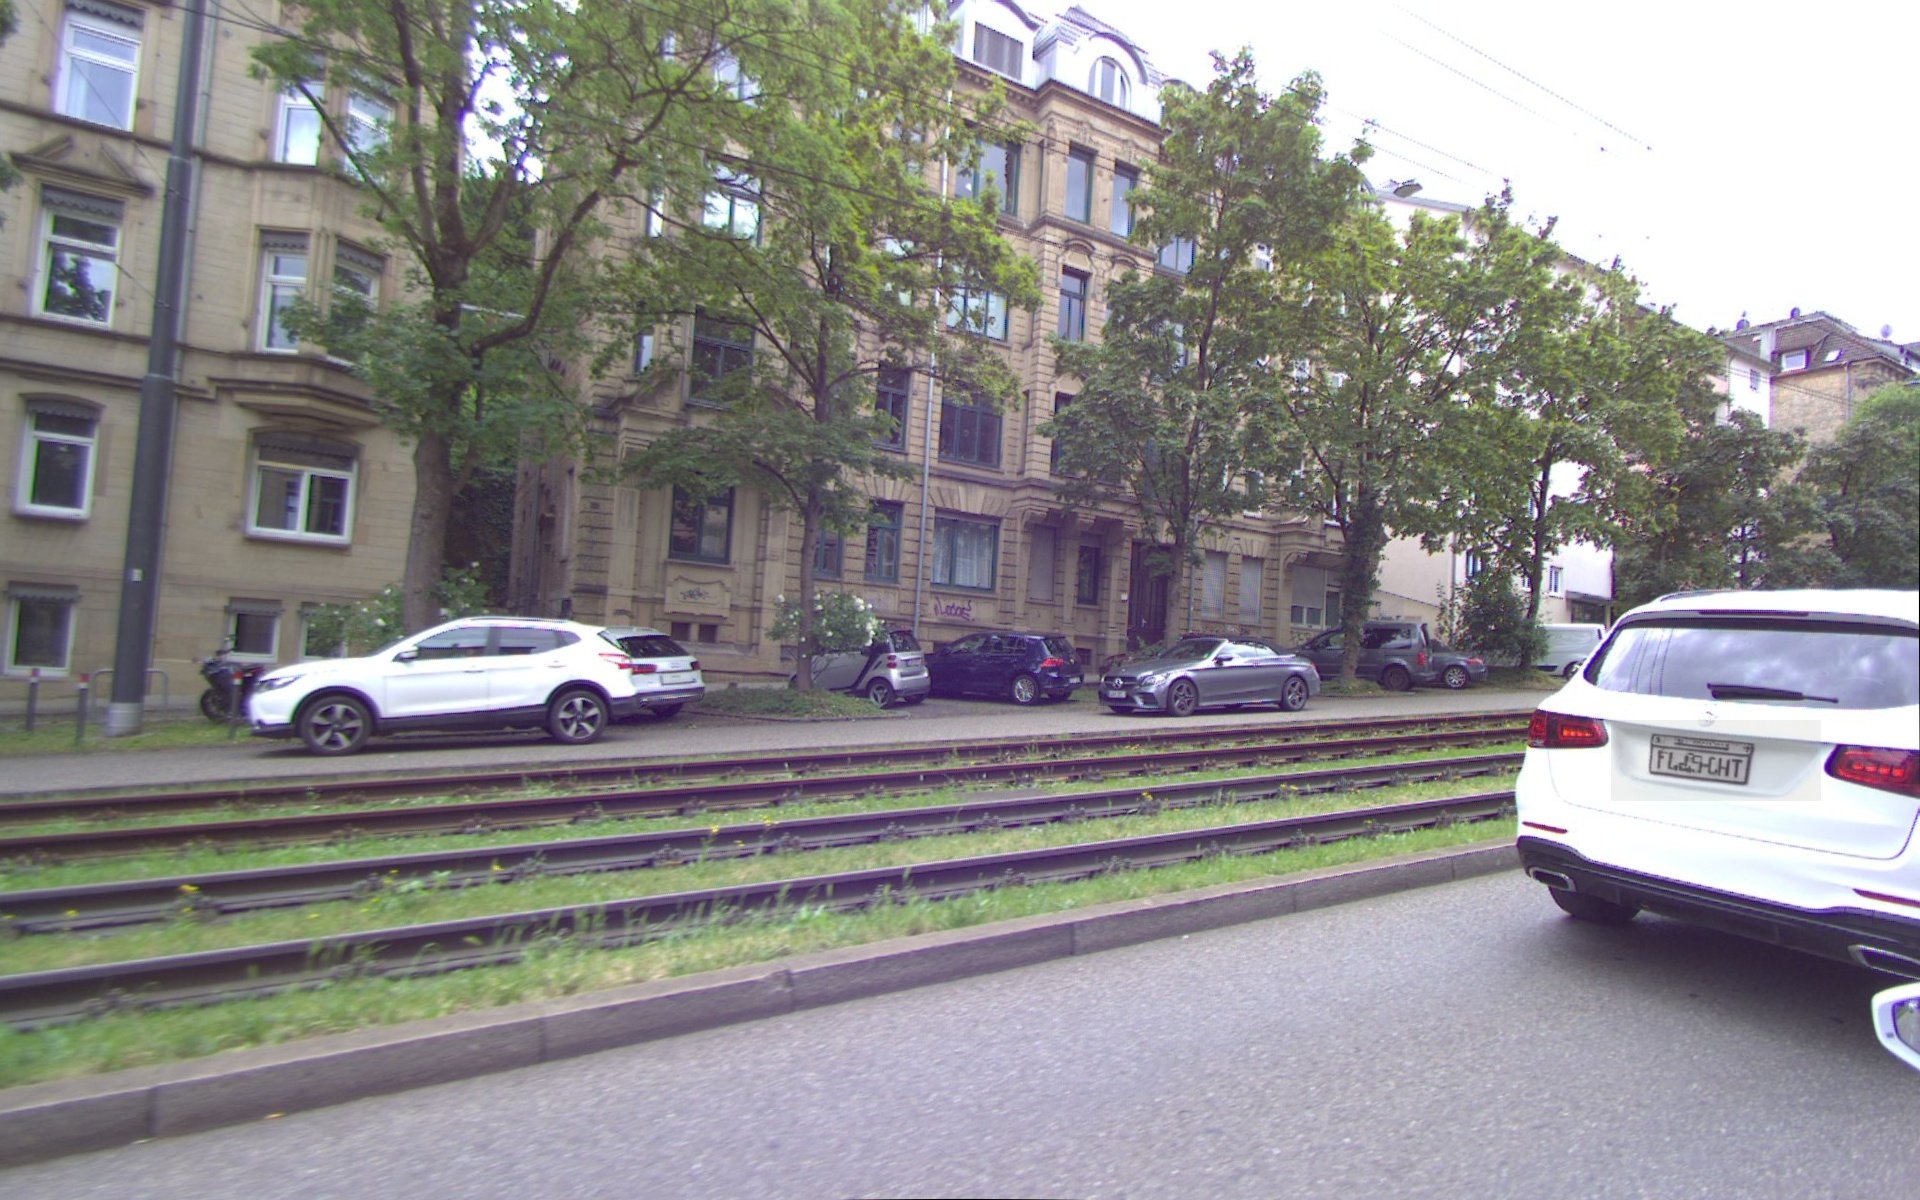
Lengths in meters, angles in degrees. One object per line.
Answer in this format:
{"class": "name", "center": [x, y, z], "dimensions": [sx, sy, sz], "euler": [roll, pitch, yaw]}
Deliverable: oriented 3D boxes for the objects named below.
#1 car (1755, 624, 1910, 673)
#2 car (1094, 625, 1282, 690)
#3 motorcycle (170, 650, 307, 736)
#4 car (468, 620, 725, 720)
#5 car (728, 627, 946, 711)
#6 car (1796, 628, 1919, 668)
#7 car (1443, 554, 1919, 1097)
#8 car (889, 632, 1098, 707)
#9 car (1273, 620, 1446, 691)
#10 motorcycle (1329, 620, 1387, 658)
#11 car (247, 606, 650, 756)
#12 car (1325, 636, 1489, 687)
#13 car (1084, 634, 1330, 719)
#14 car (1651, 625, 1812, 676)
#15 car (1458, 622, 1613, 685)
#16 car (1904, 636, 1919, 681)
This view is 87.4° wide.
{"class": "car", "center": [36.744, 2.010, 42.412], "dimensions": [4.514, 1.821, 1.937], "euler": [1, 0, 14]}
{"class": "car", "center": [5.555, 1.353, 24.544], "dimensions": [4.118, 1.454, 1.868], "euler": [-1, -2, 31]}
{"class": "motorcycle", "center": [-10.345, 1.294, 14.378], "dimensions": [2.165, 1.072, 0.624], "euler": [1, -1, 26]}
{"class": "car", "center": [-6.092, 1.152, 16.777], "dimensions": [4.080, 1.488, 1.784], "euler": [-2, -3, 28]}
{"class": "car", "center": [-2.542, 1.353, 20.717], "dimensions": [4.113, 1.594, 1.870], "euler": [-1, -2, 26]}
{"class": "car", "center": [41.424, 2.188, 45.969], "dimensions": [4.522, 1.639, 1.934], "euler": [1, 0, 27]}
{"class": "car", "center": [4.632, 0.751, 4.926], "dimensions": [4.616, 1.689, 1.826], "euler": [1, 0, -31]}
{"class": "car", "center": [0.703, 1.435, 21.668], "dimensions": [4.116, 1.454, 1.868], "euler": [-1, -2, 30]}
{"class": "car", "center": [10.807, 1.454, 27.241], "dimensions": [4.118, 1.791, 1.868], "euler": [-1, -2, 31]}
{"class": "motorcycle", "center": [15.744, 1.531, 39.795], "dimensions": [0.759, 1.436, 2.167], "euler": [1, -2, -28]}
{"class": "car", "center": [-6.342, 0.971, 12.817], "dimensions": [4.295, 1.637, 1.772], "euler": [1, -3, -30]}
{"class": "car", "center": [12.830, 1.716, 28.866], "dimensions": [4.118, 1.357, 1.868], "euler": [-1, -2, 31]}
{"class": "car", "center": [4.660, 1.368, 18.768], "dimensions": [4.543, 1.428, 1.717], "euler": [1, -3, -30]}
{"class": "car", "center": [29.119, 1.874, 38.103], "dimensions": [4.522, 1.704, 1.934], "euler": [1, 0, 28]}
{"class": "car", "center": [18.071, 1.637, 31.572], "dimensions": [4.121, 1.860, 1.866], "euler": [-1, -2, 34]}
{"class": "car", "center": [32.518, 1.880, 32.787], "dimensions": [3.373, 1.454, 1.580], "euler": [1, -3, -31]}
